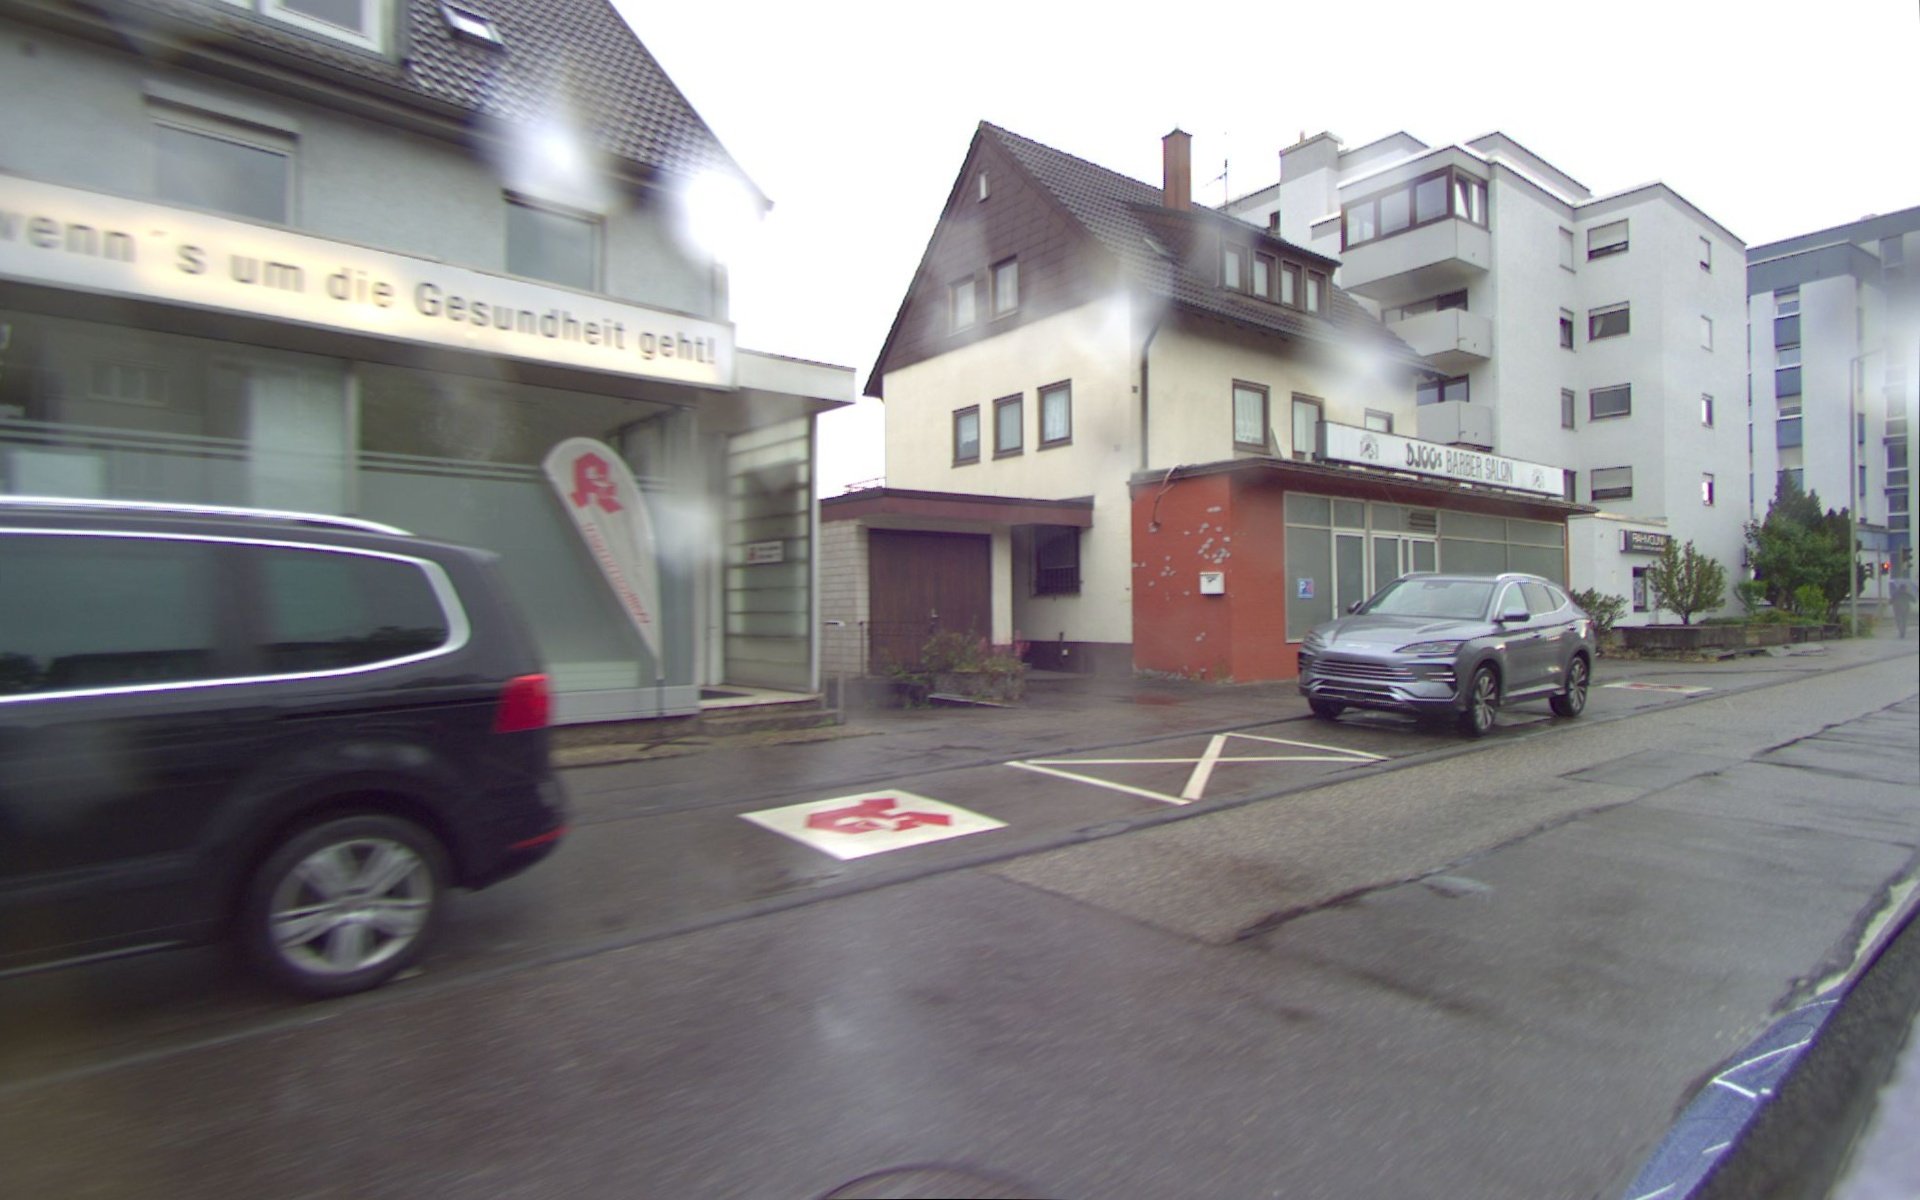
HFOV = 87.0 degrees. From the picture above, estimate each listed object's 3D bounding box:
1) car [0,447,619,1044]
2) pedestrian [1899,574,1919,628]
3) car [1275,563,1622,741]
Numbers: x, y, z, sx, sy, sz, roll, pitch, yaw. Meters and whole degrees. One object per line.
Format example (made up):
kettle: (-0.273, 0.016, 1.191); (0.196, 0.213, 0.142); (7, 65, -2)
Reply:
car: (-3.881, 0.398, 3.301); (4.874, 1.716, 2.041); (-1, 2, -39)
pedestrian: (29.012, 0.013, 30.529); (0.974, 1.588, 0.754); (-1, -2, -36)
car: (5.795, 0.423, 11.731); (4.708, 1.663, 1.879); (-1, 2, -40)
